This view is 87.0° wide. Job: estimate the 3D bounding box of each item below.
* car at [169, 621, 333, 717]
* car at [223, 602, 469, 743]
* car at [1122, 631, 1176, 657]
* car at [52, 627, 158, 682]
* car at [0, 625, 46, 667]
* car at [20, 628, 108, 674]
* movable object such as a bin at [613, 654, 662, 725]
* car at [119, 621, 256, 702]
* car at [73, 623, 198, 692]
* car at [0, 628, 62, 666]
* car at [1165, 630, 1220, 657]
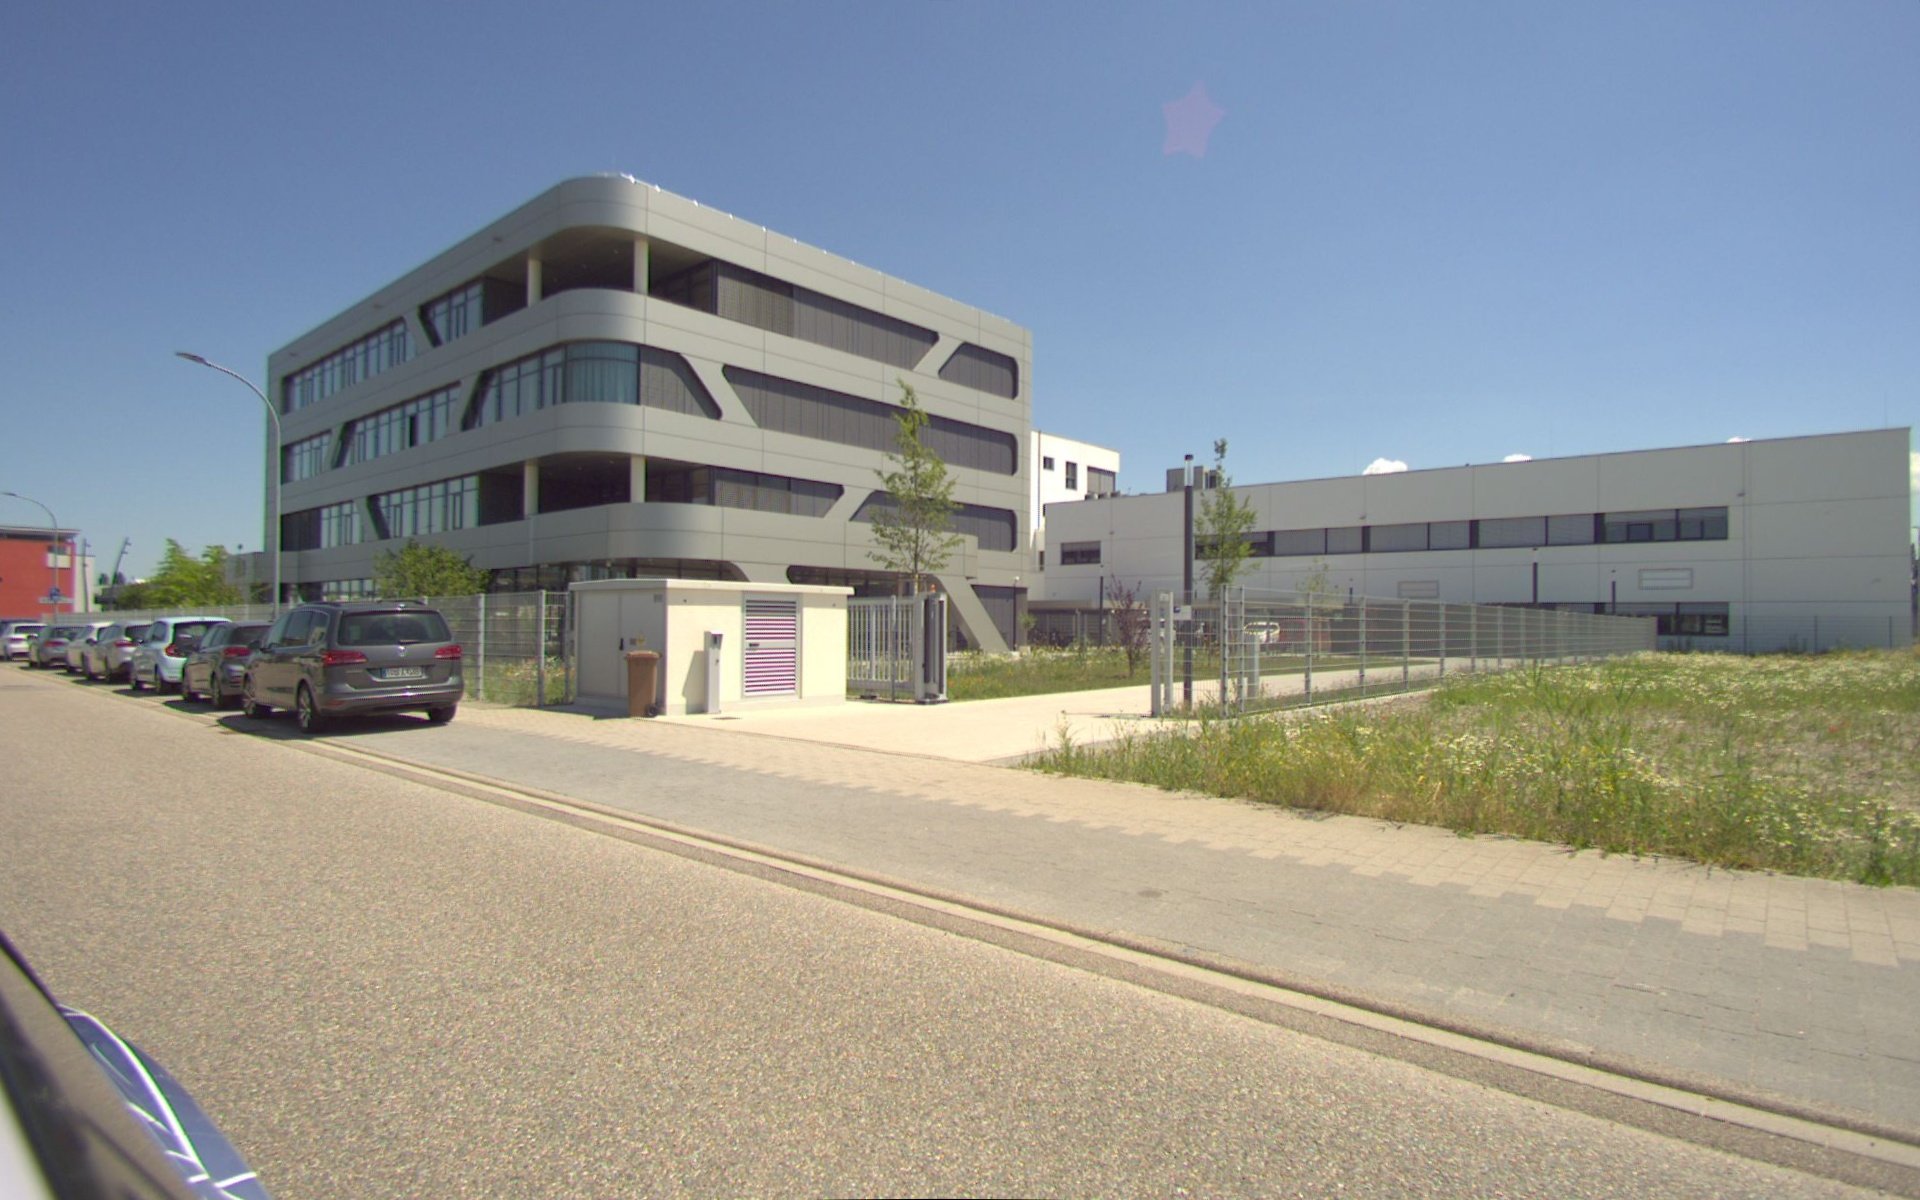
[{"bbox_3d":[-12.799,1.162,18.180,3.971,1.512,1.617,-2,-1,43],"label":"car"},{"bbox_3d":[-8.993,0.939,14.651,4.620,1.732,1.783,-2,-1,42],"label":"car"},{"bbox_3d":[11.868,2.731,63.434,1.918,1.597,3.953,-1,-3,34],"label":"car"},{"bbox_3d":[-24.703,1.524,29.195,4.437,1.455,1.685,-1,-1,41],"label":"car"},{"bbox_3d":[-39.639,1.901,42.305,4.851,1.664,1.750,-2,-3,43],"label":"car"},{"bbox_3d":[-29.201,1.632,32.937,4.638,1.396,1.666,-2,-2,42],"label":"car"},{"bbox_3d":[-4.575,1.261,14.379,0.594,0.952,0.517,0,-1,-8],"label":"movable object such as a bin"},{"bbox_3d":[-16.464,1.241,21.523,3.656,1.548,1.618,-1,-1,41],"label":"car"},{"bbox_3d":[-20.694,1.373,25.334,4.569,1.548,1.685,-1,-1,41],"label":"car"},{"bbox_3d":[-35.770,1.780,38.568,3.933,1.396,1.682,-2,-2,39],"label":"car"},{"bbox_3d":[14.179,2.629,61.620,1.918,1.597,3.953,-1,-3,34],"label":"car"}]
